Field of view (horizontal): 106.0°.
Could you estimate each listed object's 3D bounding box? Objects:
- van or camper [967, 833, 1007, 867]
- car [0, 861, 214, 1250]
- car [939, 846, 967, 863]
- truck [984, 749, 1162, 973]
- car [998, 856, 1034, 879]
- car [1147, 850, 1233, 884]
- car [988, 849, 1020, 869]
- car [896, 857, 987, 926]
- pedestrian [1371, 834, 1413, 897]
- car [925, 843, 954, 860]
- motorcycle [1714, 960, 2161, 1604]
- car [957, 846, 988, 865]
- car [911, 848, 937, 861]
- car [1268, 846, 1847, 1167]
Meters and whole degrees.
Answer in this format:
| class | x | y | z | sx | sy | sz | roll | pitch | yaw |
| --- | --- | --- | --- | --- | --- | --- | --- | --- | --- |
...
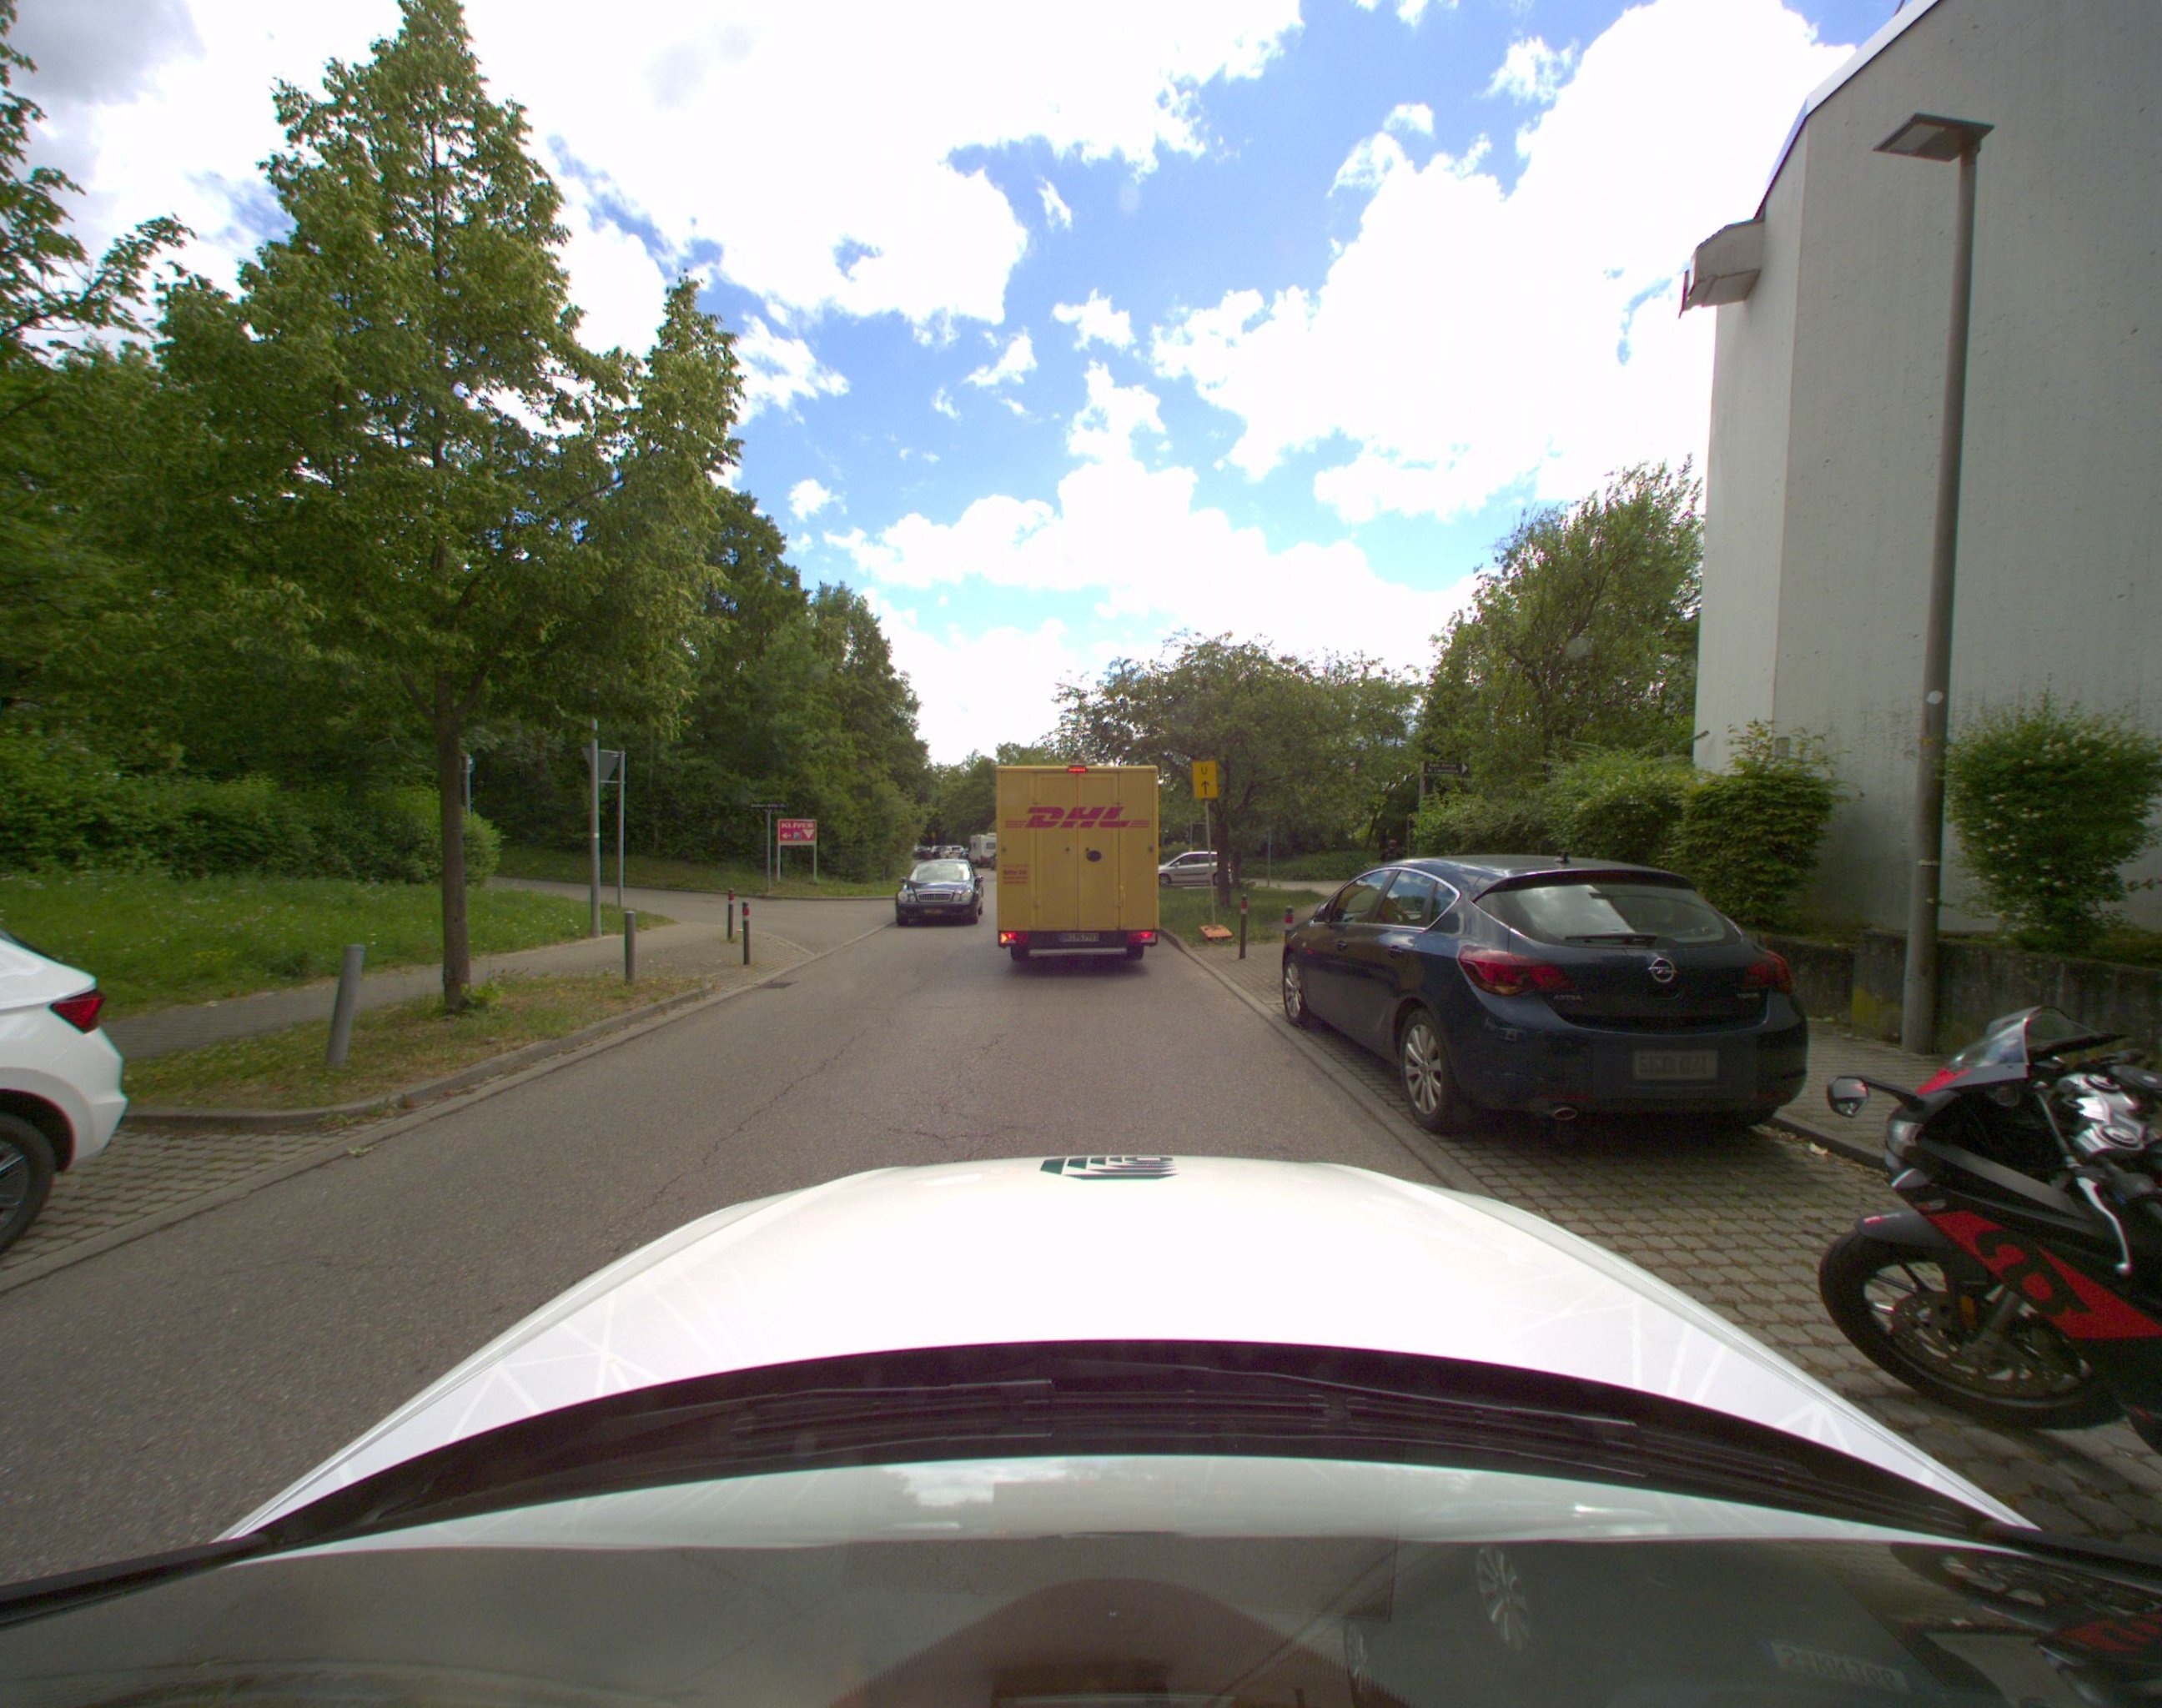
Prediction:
| class | x | y | z | sx | sy | sz | roll | pitch | yaw |
| --- | --- | --- | --- | --- | --- | --- | --- | --- | --- |
| van or camper | -8.365 | -0.370 | 71.836 | 2.339 | 2.869 | 6.112 | 0 | 1 | -18 |
| car | -4.837 | 0.724 | 1.631 | 1.802 | 1.405 | 4.049 | 0 | -1 | 1 |
| car | -13.205 | 0.036 | 83.855 | 1.879 | 1.689 | 4.545 | 0 | 1 | -23 |
| truck | -0.101 | 0.079 | 13.600 | 2.218 | 2.808 | 6.570 | -1 | 0 | 0 |
| car | -4.621 | 0.934 | 57.294 | 1.778 | 1.434 | 4.313 | -2 | 1 | -14 |
| car | 4.832 | 0.564 | 36.462 | 3.628 | 1.456 | 1.847 | 0 | -1 | 0 |
| car | -6.139 | 0.413 | 64.570 | 1.734 | 1.519 | 3.865 | -2 | 0 | -18 |
| car | -3.238 | 0.804 | 19.572 | 1.749 | 1.419 | 4.360 | -1 | 0 | -5 |
| pedestrian | 8.750 | 0.327 | 22.931 | 0.830 | 1.737 | 0.784 | 0 | -1 | -4 |
| car | -15.556 | -0.268 | 89.427 | 2.004 | 1.626 | 4.243 | -4 | 3 | -25 |
| motorcycle | 2.363 | 0.852 | 1.483 | 0.708 | 1.067 | 1.923 | 0 | -1 | -11 |
| car | -10.348 | 0.129 | 77.615 | 1.719 | 1.591 | 3.969 | -9 | 4 | -23 |
| car | -18.473 | 0.056 | 95.540 | 1.809 | 1.464 | 3.962 | -1 | 1 | -30 |
| car | 2.623 | 0.685 | 5.686 | 1.686 | 1.420 | 3.999 | -1 | 0 | 0 |
